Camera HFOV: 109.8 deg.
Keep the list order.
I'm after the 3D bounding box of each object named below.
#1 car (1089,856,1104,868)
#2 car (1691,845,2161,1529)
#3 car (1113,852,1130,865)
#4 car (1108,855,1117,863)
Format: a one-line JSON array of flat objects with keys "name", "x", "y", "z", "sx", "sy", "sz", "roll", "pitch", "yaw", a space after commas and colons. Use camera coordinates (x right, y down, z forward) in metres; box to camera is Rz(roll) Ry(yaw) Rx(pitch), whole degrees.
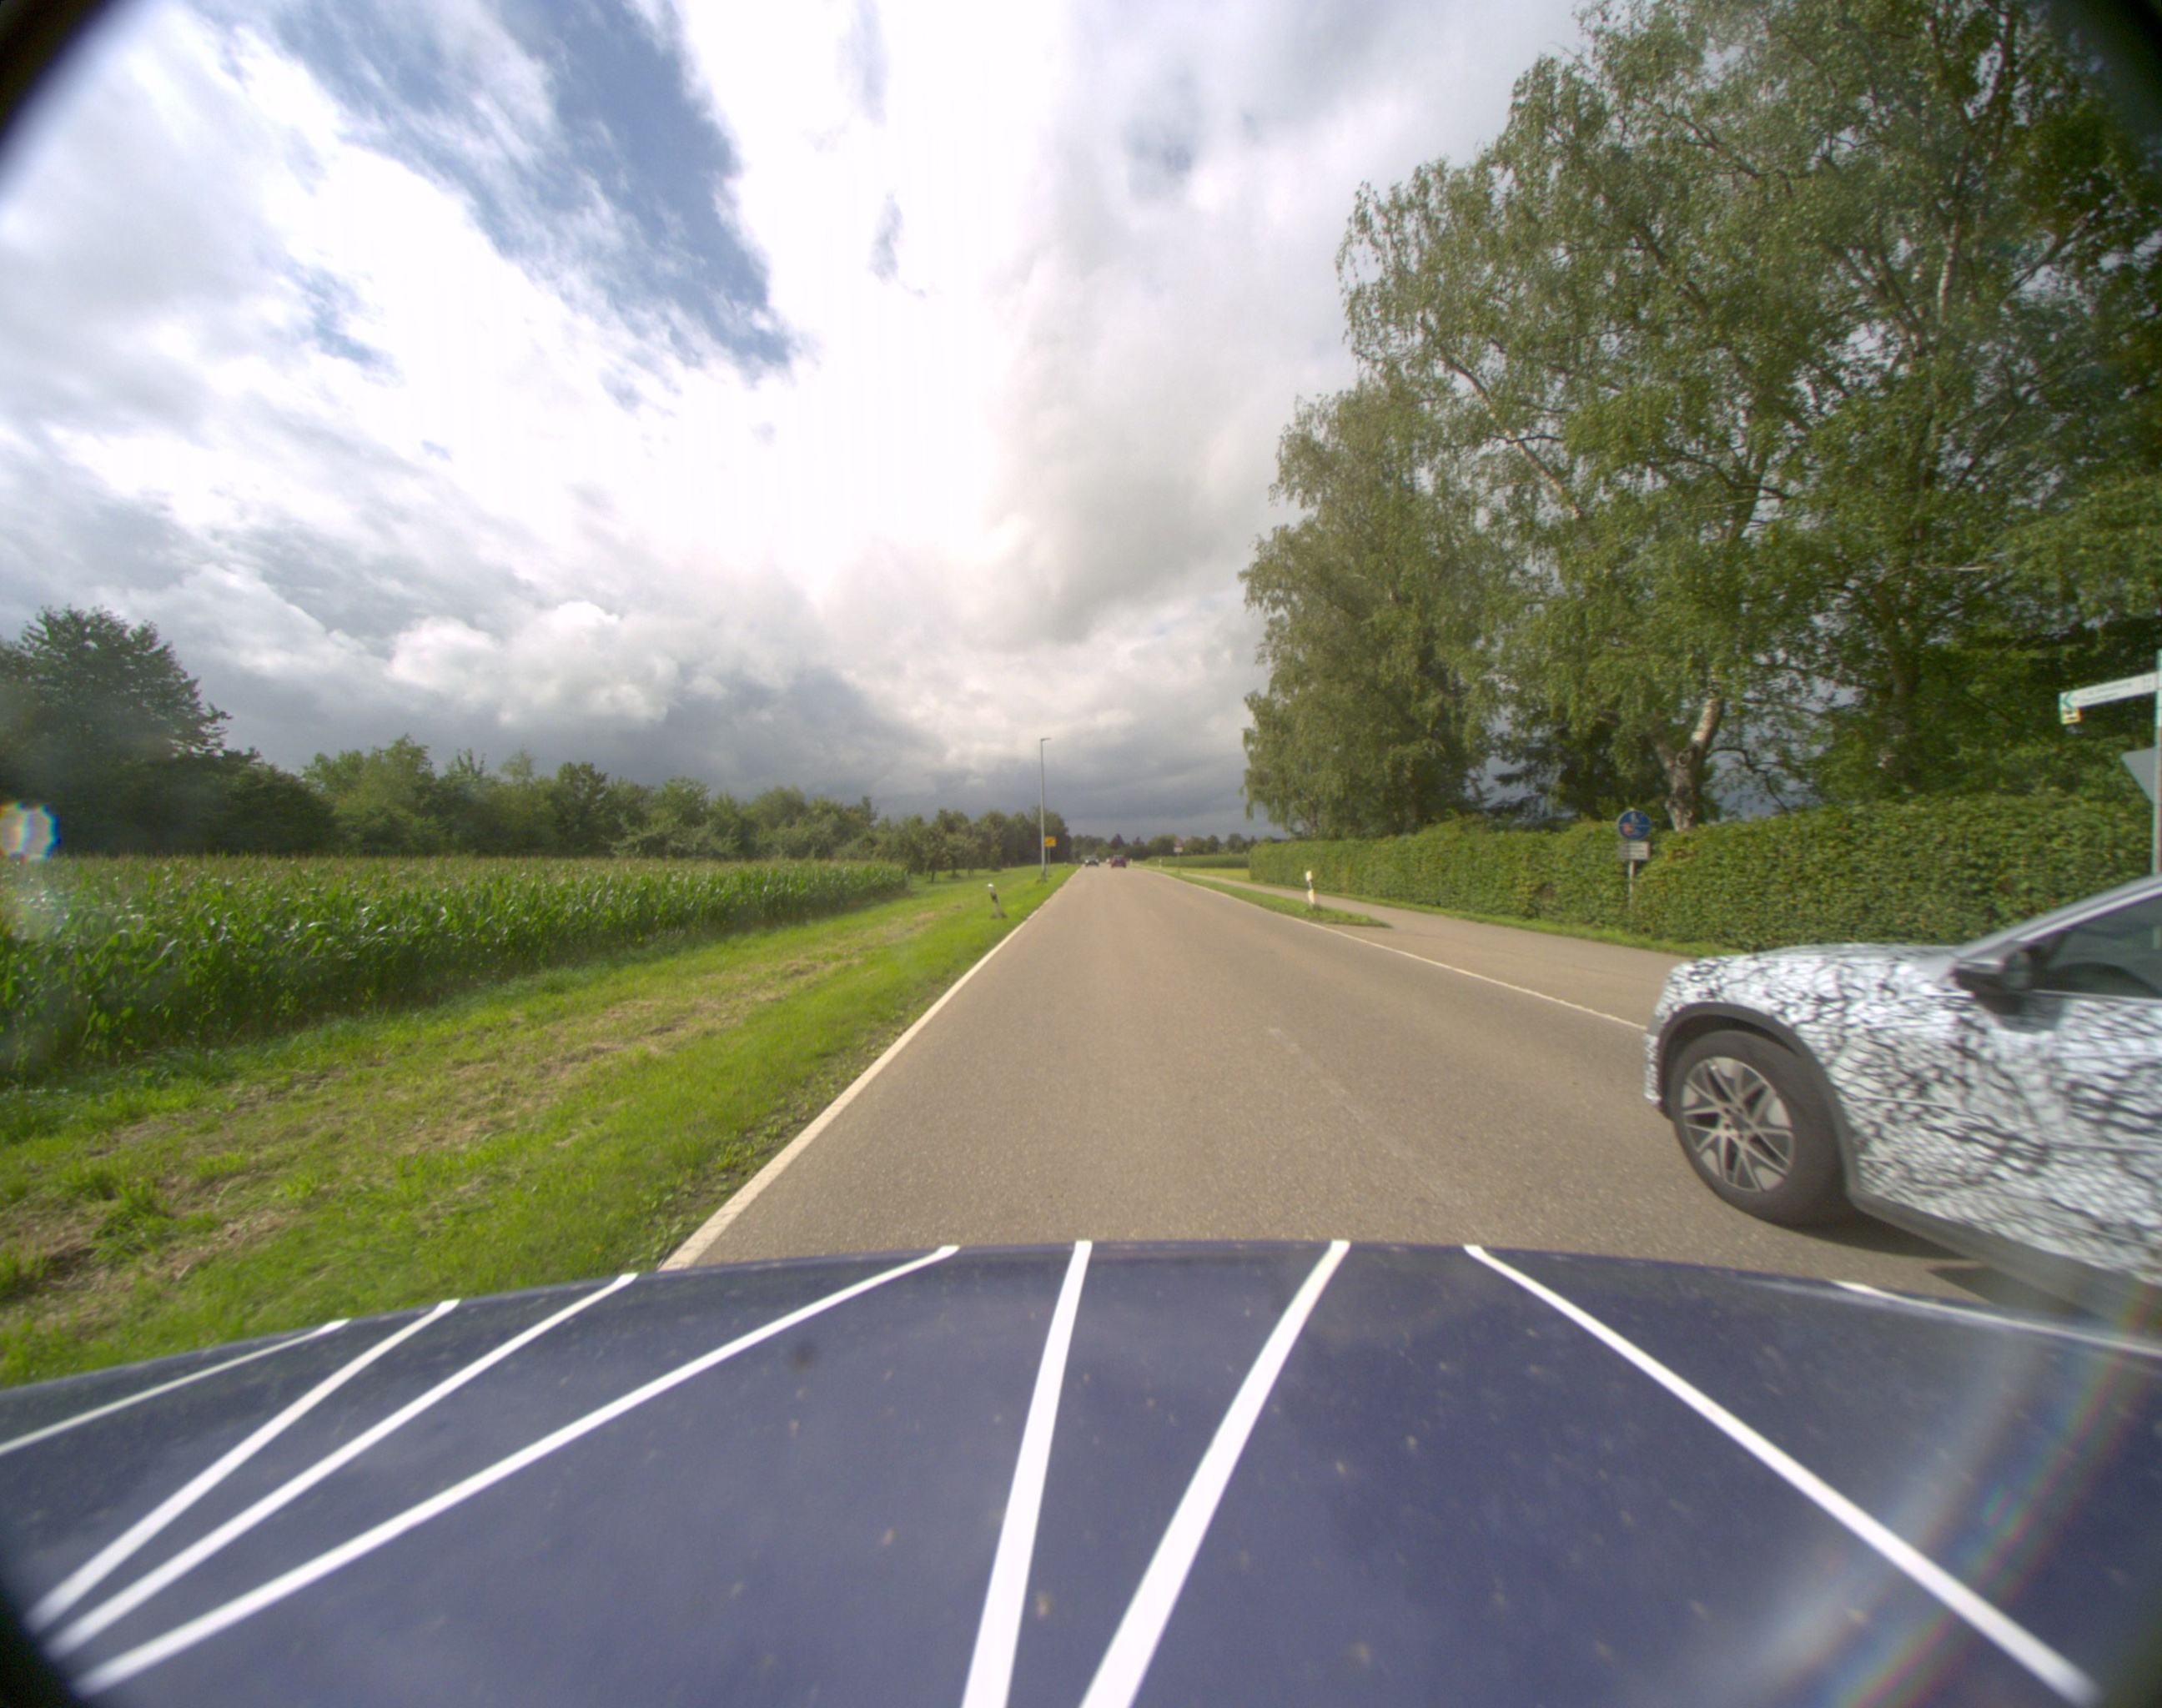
[{"name": "car", "x": 2.170, "y": 1.160, "z": 106.960, "sx": 1.998, "sy": 1.594, "sz": 4.000, "roll": -2, "pitch": 0, "yaw": 1}, {"name": "car", "x": 3.489, "y": 0.804, "z": 1.087, "sx": 1.815, "sy": 1.641, "sz": 4.292, "roll": 0, "pitch": 0, "yaw": 1}, {"name": "car", "x": 4.718, "y": 0.541, "z": 88.568, "sx": 1.745, "sy": 1.462, "sz": 4.000, "roll": 0, "pitch": 0, "yaw": 1}, {"name": "car", "x": 7.743, "y": 1.216, "z": 186.815, "sx": 2.086, "sy": 1.716, "sz": 4.560, "roll": 0, "pitch": 0, "yaw": 1}]
